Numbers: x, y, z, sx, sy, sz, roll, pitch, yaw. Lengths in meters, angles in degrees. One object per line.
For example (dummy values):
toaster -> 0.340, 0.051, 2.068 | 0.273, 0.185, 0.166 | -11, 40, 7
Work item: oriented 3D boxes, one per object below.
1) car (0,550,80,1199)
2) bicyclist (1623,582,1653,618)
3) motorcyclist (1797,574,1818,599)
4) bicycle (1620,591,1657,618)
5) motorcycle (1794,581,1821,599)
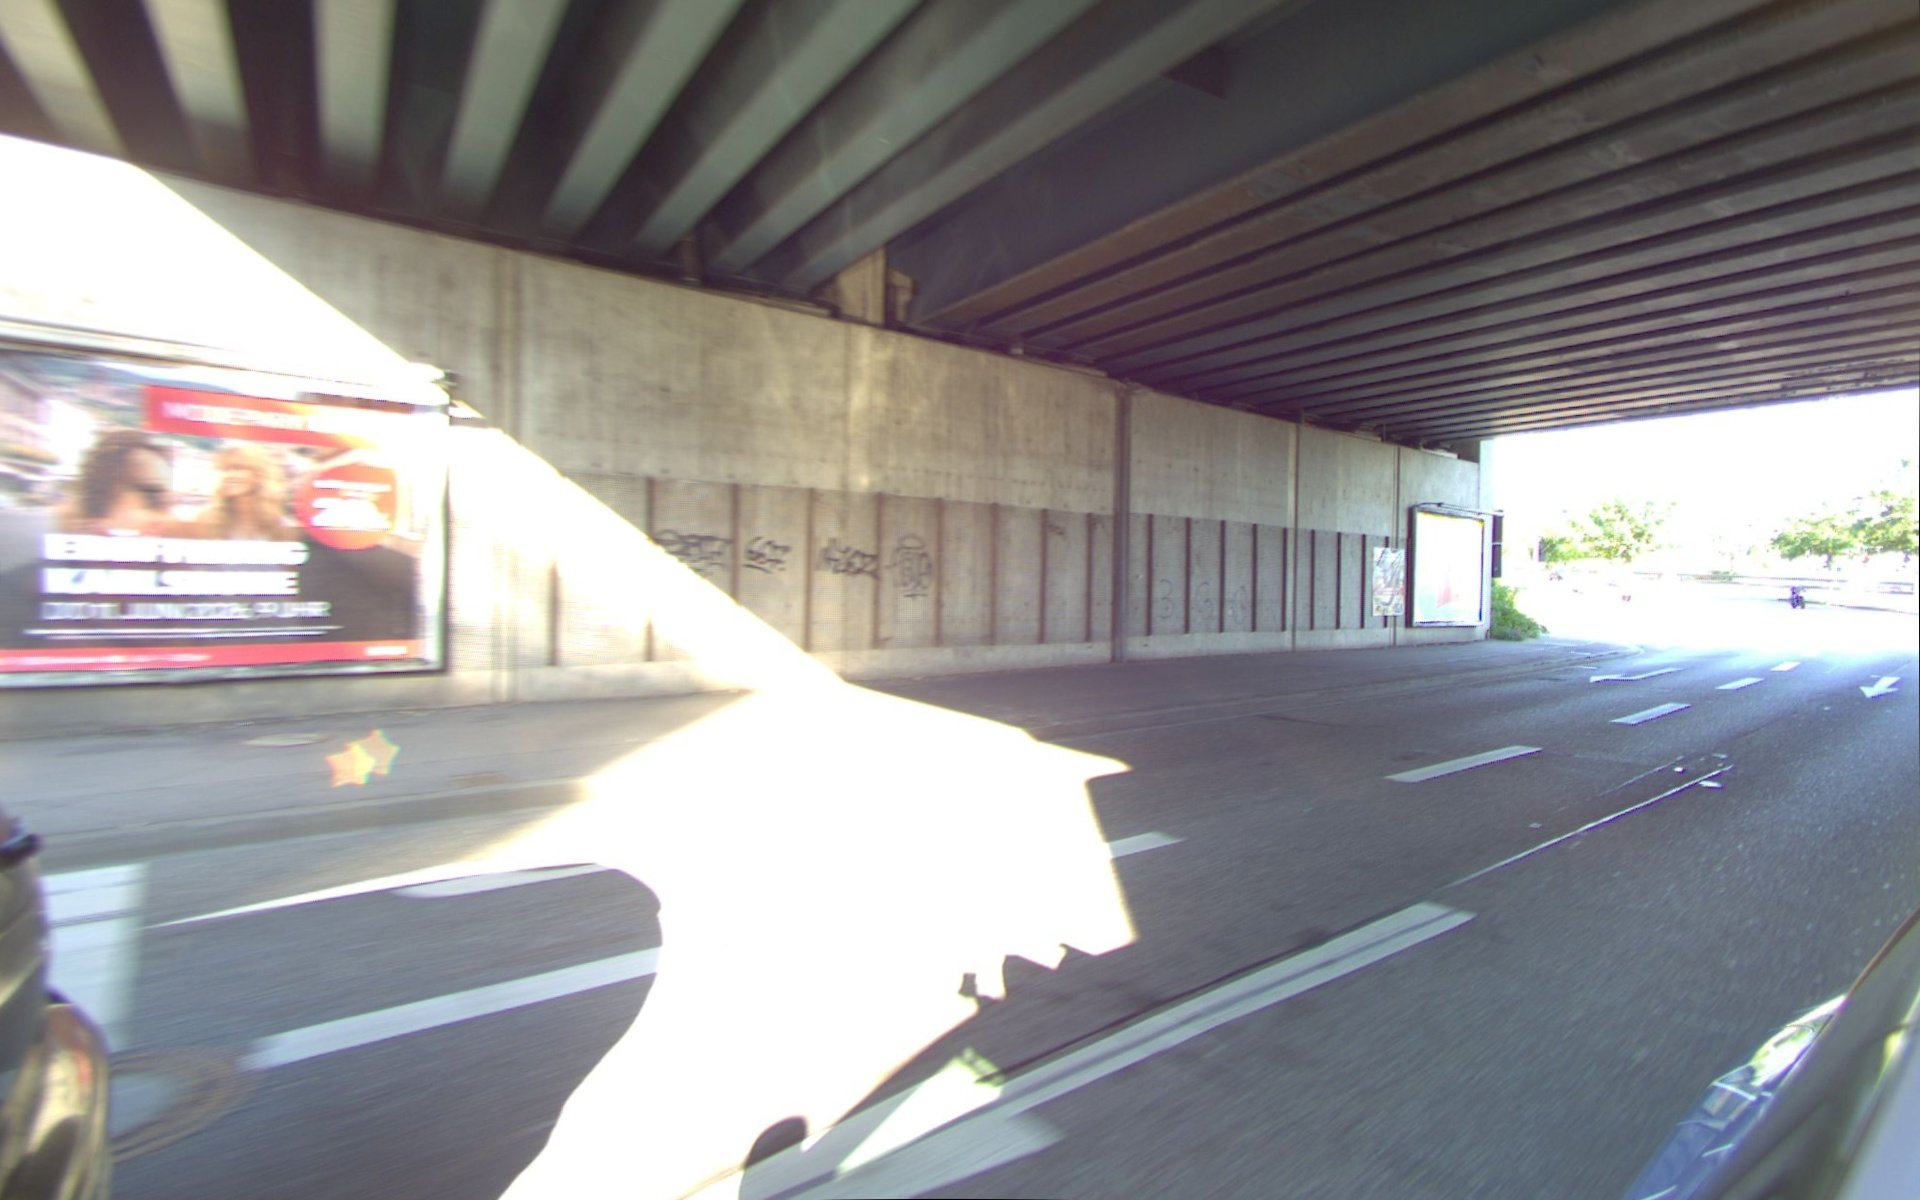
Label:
car -> -2.944, 0.676, 0.548 | 3.616, 1.427, 1.620 | -1, 0, -38
bicyclist -> 28.290, -0.005, 42.242 | 0.834, 1.439, 1.105 | -1, 0, 23
motorcyclist -> 51.554, -0.821, 61.550 | 0.862, 1.460, 0.839 | -1, 0, -39
bicycle -> 28.287, 0.173, 42.235 | 0.774, 1.070, 2.478 | -1, 0, 22
motorcycle -> 51.531, -0.586, 61.535 | 2.311, 1.059, 0.811 | -1, 0, -39
